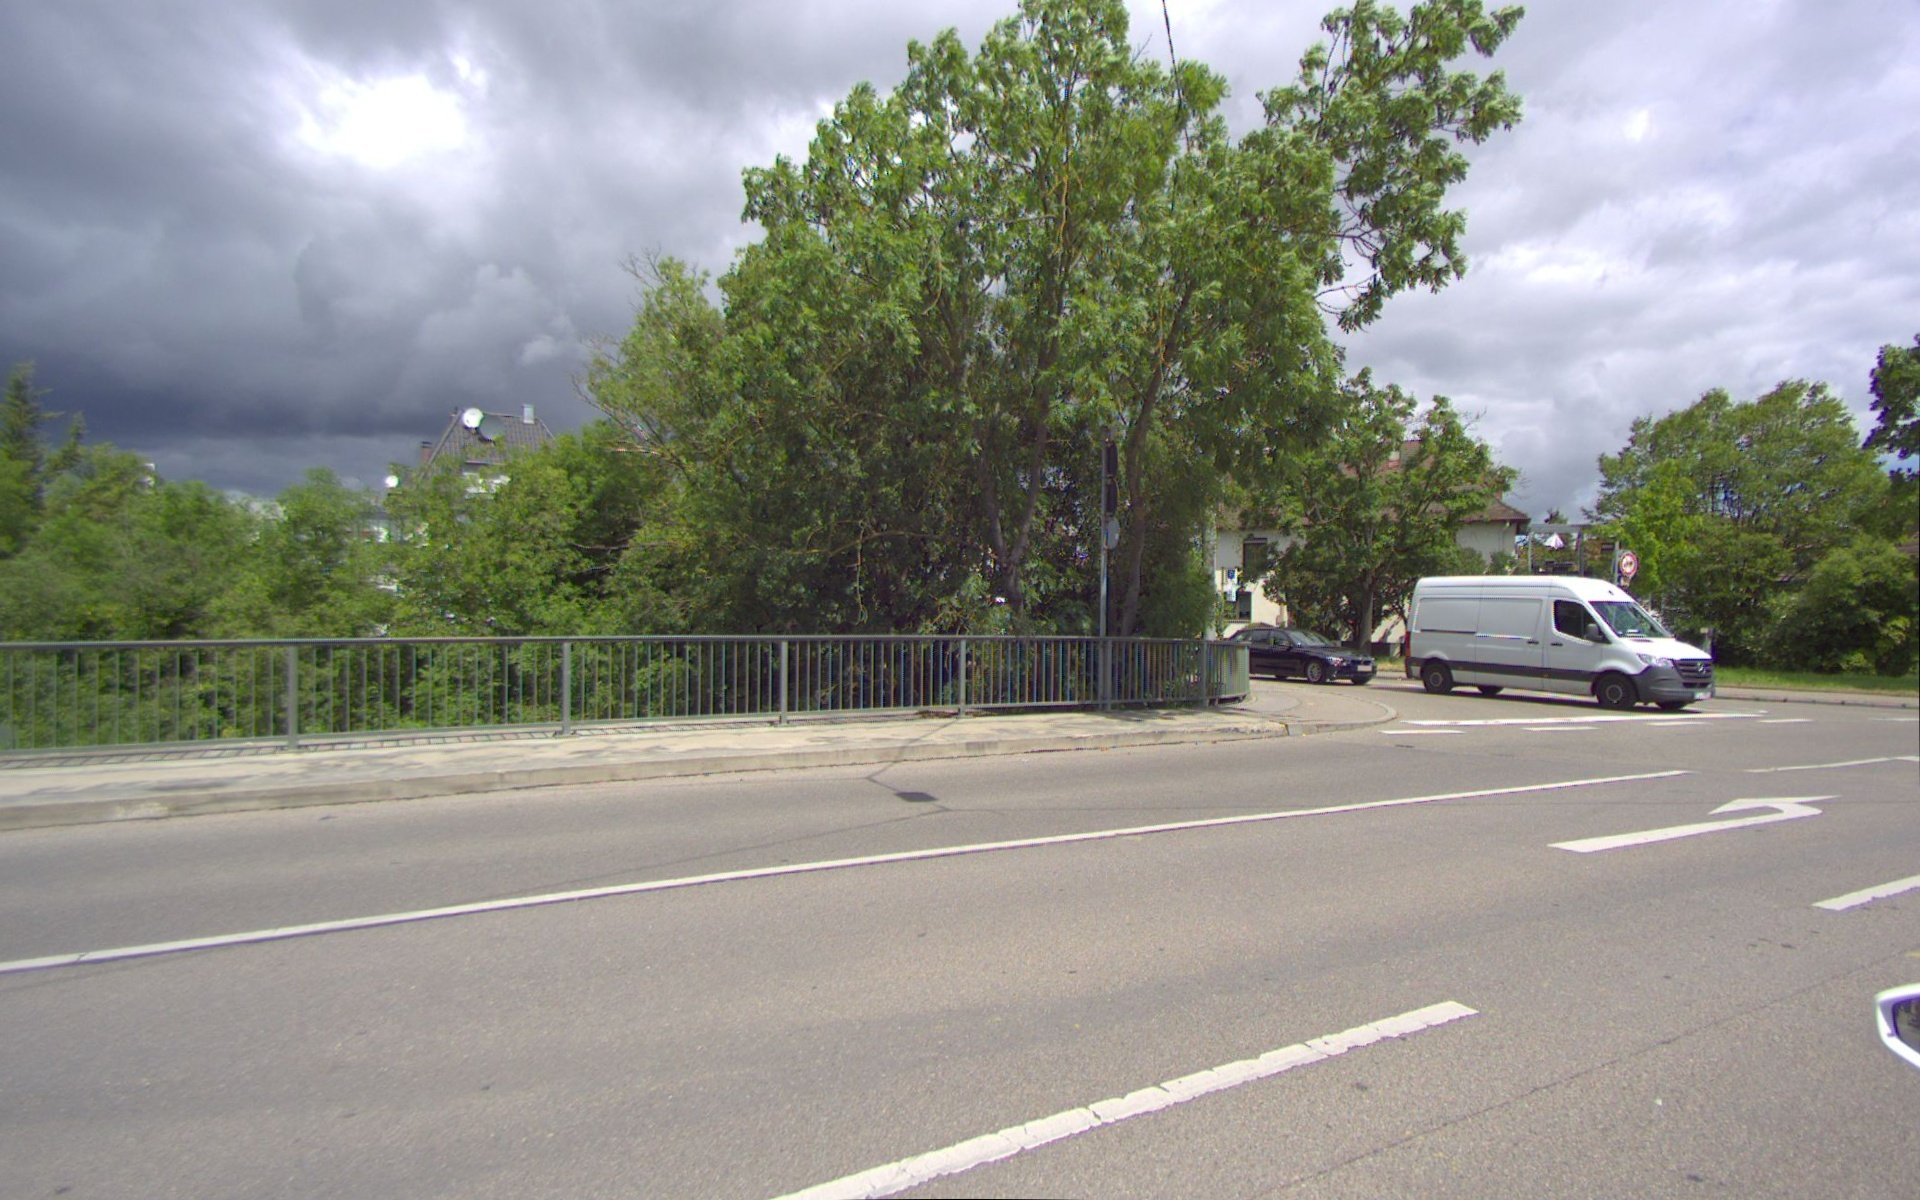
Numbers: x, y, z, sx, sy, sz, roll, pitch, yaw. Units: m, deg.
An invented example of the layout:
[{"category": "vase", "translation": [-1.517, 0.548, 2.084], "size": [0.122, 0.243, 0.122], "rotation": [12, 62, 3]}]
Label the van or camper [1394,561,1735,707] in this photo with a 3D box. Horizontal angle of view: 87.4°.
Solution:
[{"category": "van or camper", "translation": [12.270, 0.700, 20.984], "size": [2.165, 2.600, 5.889], "rotation": [2, -2, -26]}]

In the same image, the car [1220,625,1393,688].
[{"category": "car", "translation": [9.149, 1.439, 26.837], "size": [1.975, 1.494, 4.200], "rotation": [1, -1, -27]}]

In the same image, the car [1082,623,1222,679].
[{"category": "car", "translation": [6.010, 1.564, 31.964], "size": [1.978, 1.609, 4.363], "rotation": [1, -1, -32]}]
